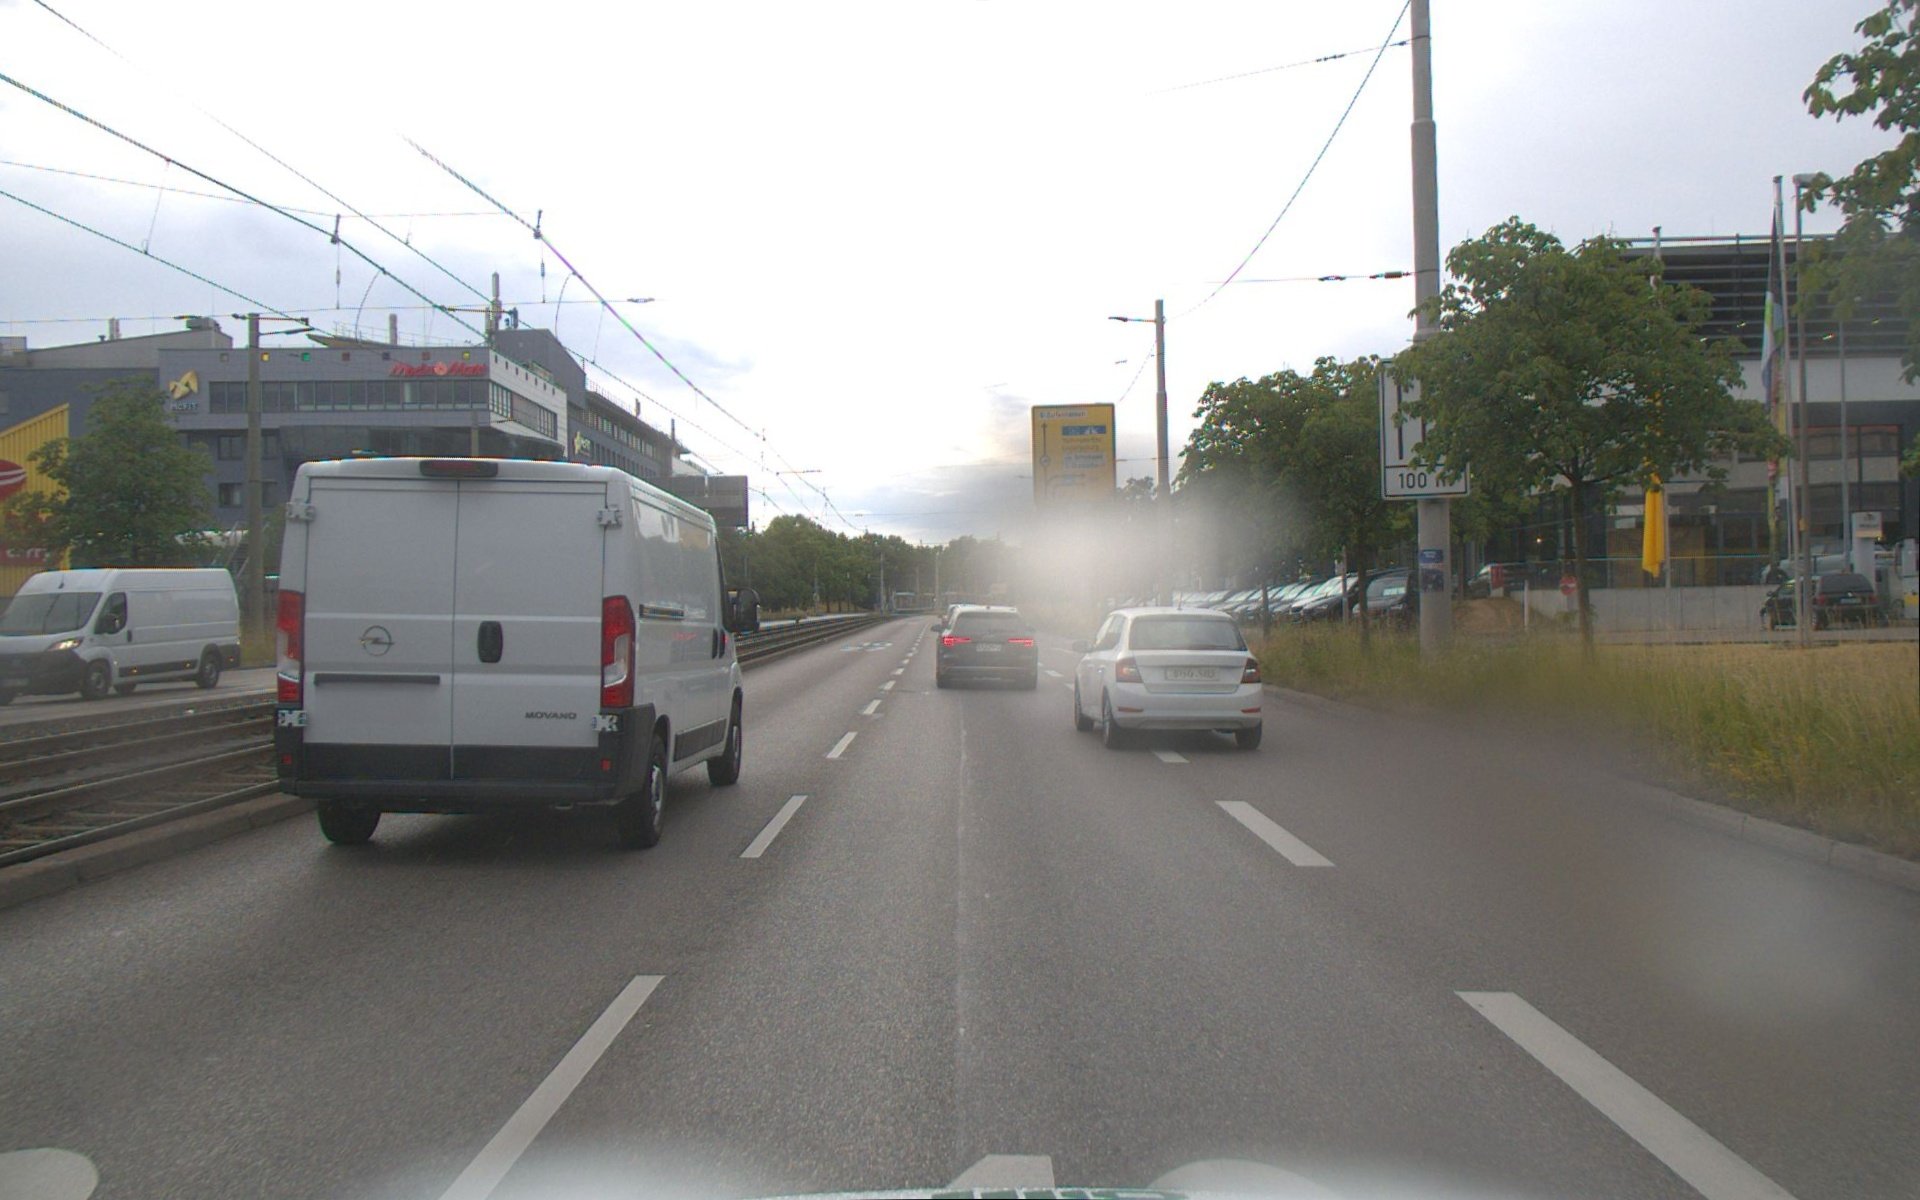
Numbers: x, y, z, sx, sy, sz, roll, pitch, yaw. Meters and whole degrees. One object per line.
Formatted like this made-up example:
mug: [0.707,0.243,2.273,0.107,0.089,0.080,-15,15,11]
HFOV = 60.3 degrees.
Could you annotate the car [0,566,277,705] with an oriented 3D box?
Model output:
car: [-16.298,0.627,33.092,2.166,2.451,6.564,-2,0,3]

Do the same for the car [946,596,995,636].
car: [0.397,0.633,64.098,1.855,1.491,3.909,-1,-1,0]

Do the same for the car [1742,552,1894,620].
car: [21.952,-0.356,42.480,1.755,1.619,3.999,-2,0,-1]

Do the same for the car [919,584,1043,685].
car: [0.298,0.623,29.879,1.954,1.666,3.997,-1,-1,-3]

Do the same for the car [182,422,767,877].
car: [-2.888,0.257,11.323,2.395,2.334,4.905,2,0,1]

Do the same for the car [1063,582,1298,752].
car: [2.342,0.708,18.568,1.793,1.685,3.996,1,-1,-5]
